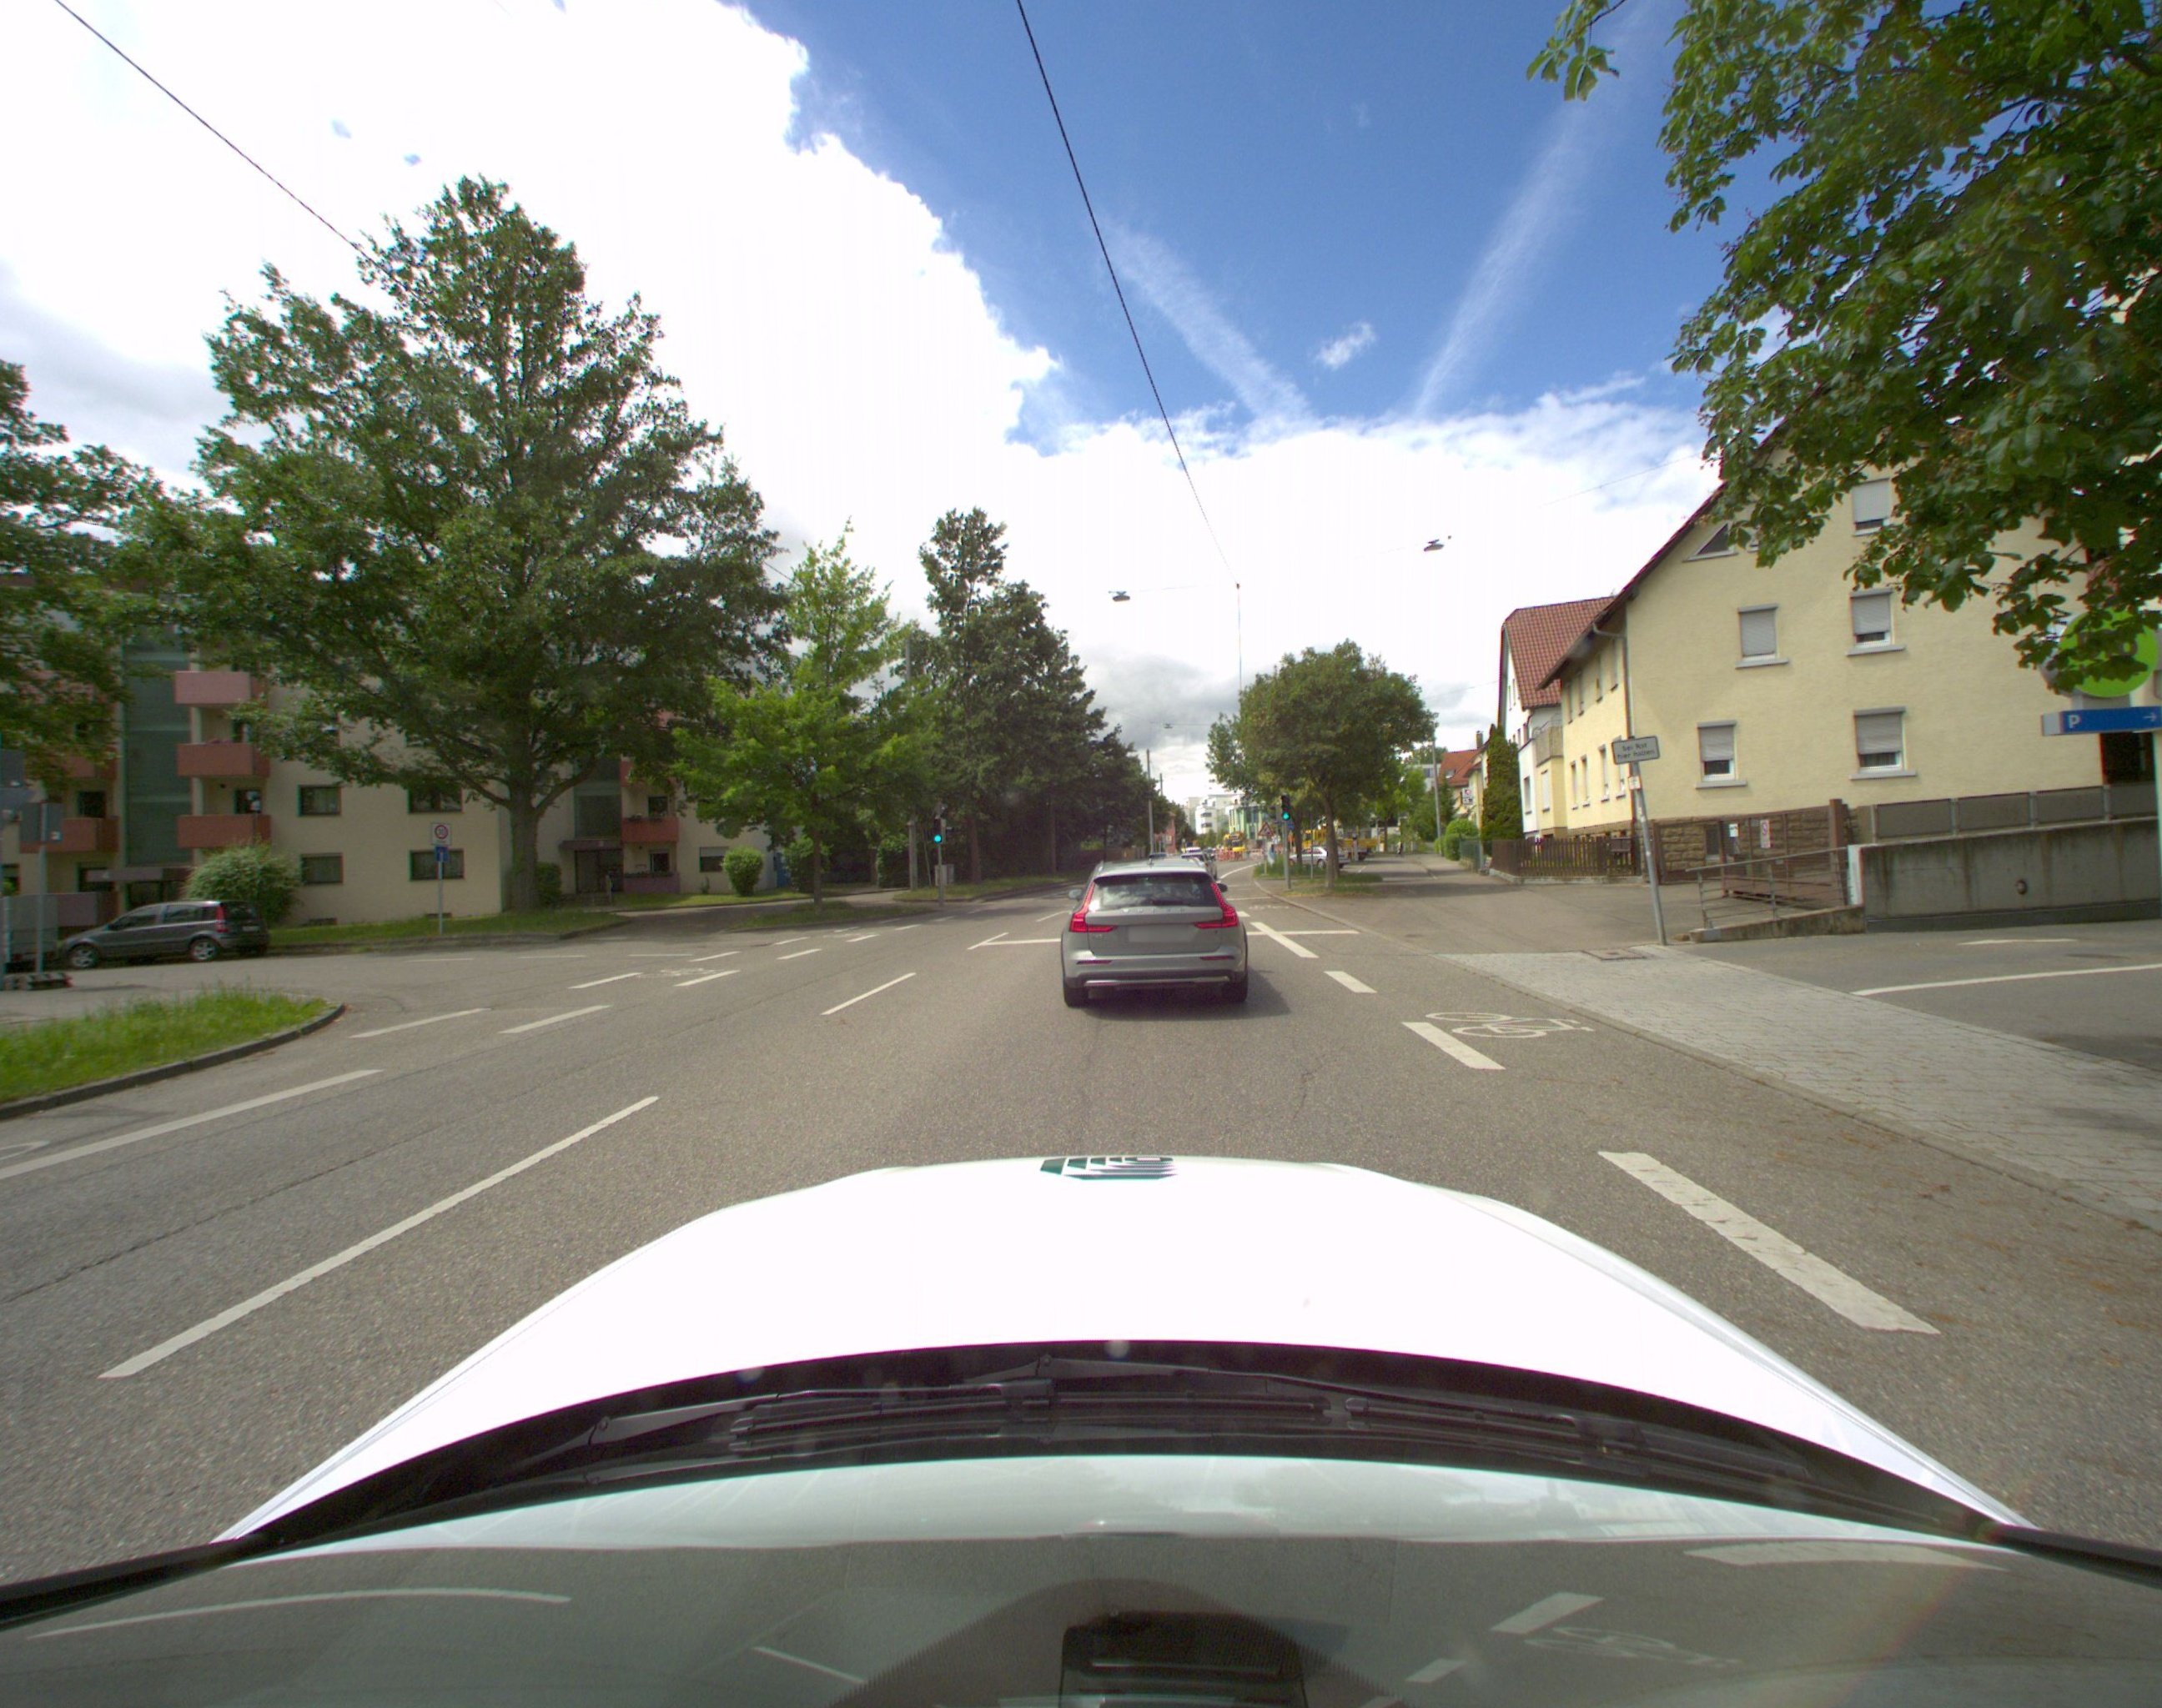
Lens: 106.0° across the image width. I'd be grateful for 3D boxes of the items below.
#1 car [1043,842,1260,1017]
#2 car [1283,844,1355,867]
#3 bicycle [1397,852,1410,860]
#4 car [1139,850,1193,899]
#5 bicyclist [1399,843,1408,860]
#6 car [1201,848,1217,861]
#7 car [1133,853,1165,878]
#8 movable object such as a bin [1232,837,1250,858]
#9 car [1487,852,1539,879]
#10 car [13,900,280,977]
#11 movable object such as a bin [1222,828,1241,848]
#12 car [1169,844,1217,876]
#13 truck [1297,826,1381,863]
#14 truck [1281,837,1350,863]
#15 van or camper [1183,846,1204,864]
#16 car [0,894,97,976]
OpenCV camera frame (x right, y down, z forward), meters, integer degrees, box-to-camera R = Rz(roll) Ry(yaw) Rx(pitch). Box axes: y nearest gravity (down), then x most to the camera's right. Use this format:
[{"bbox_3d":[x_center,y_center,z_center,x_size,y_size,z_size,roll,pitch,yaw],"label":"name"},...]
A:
[{"bbox_3d":[0.799,0.705,9.393,1.919,1.540,4.005,-2,-1,5],"label":"car"},{"bbox_3d":[15.579,0.121,53.571,1.773,1.451,4.644,-2,0,-30],"label":"car"},{"bbox_3d":[30.491,0.186,77.031,0.592,0.812,1.754,0,-1,1],"label":"bicycle"},{"bbox_3d":[2.772,0.659,27.075,1.653,1.508,3.707,0,-1,5],"label":"car"},{"bbox_3d":[30.500,-0.232,77.074,0.587,1.559,0.566,0,-1,1],"label":"bicyclist"},{"bbox_3d":[17.631,0.108,112.115,1.981,1.737,4.012,0,-1,11],"label":"car"},{"bbox_3d":[4.859,0.824,57.716,1.887,1.580,4.010,-4,-1,9],"label":"car"},{"bbox_3d":[21.333,-0.892,108.578,2.020,2.643,5.961,-3,0,13],"label":"movable object such as a bin"},{"bbox_3d":[19.279,0.520,36.437,1.450,1.124,3.890,0,-1,19],"label":"car"},{"bbox_3d":[-22.820,2.018,20.074,3.995,1.452,1.687,-3,-1,-16],"label":"car"},{"bbox_3d":[24.336,-2.542,131.874,2.299,2.990,6.436,-3,0,5],"label":"movable object such as a bin"},{"bbox_3d":[5.722,0.326,41.151,2.088,1.510,4.013,0,-1,13],"label":"car"},{"bbox_3d":[22.066,-0.709,69.980,2.780,3.008,6.638,1,-1,-32],"label":"truck"},{"bbox_3d":[19.602,-0.291,68.303,2.007,2.014,5.619,1,-1,-33],"label":"truck"},{"bbox_3d":[11.869,0.077,85.855,1.848,1.776,4.395,-2,0,12],"label":"van or camper"},{"bbox_3d":[-27.132,2.091,19.608,3.990,1.844,1.838,-5,0,-12],"label":"car"}]
